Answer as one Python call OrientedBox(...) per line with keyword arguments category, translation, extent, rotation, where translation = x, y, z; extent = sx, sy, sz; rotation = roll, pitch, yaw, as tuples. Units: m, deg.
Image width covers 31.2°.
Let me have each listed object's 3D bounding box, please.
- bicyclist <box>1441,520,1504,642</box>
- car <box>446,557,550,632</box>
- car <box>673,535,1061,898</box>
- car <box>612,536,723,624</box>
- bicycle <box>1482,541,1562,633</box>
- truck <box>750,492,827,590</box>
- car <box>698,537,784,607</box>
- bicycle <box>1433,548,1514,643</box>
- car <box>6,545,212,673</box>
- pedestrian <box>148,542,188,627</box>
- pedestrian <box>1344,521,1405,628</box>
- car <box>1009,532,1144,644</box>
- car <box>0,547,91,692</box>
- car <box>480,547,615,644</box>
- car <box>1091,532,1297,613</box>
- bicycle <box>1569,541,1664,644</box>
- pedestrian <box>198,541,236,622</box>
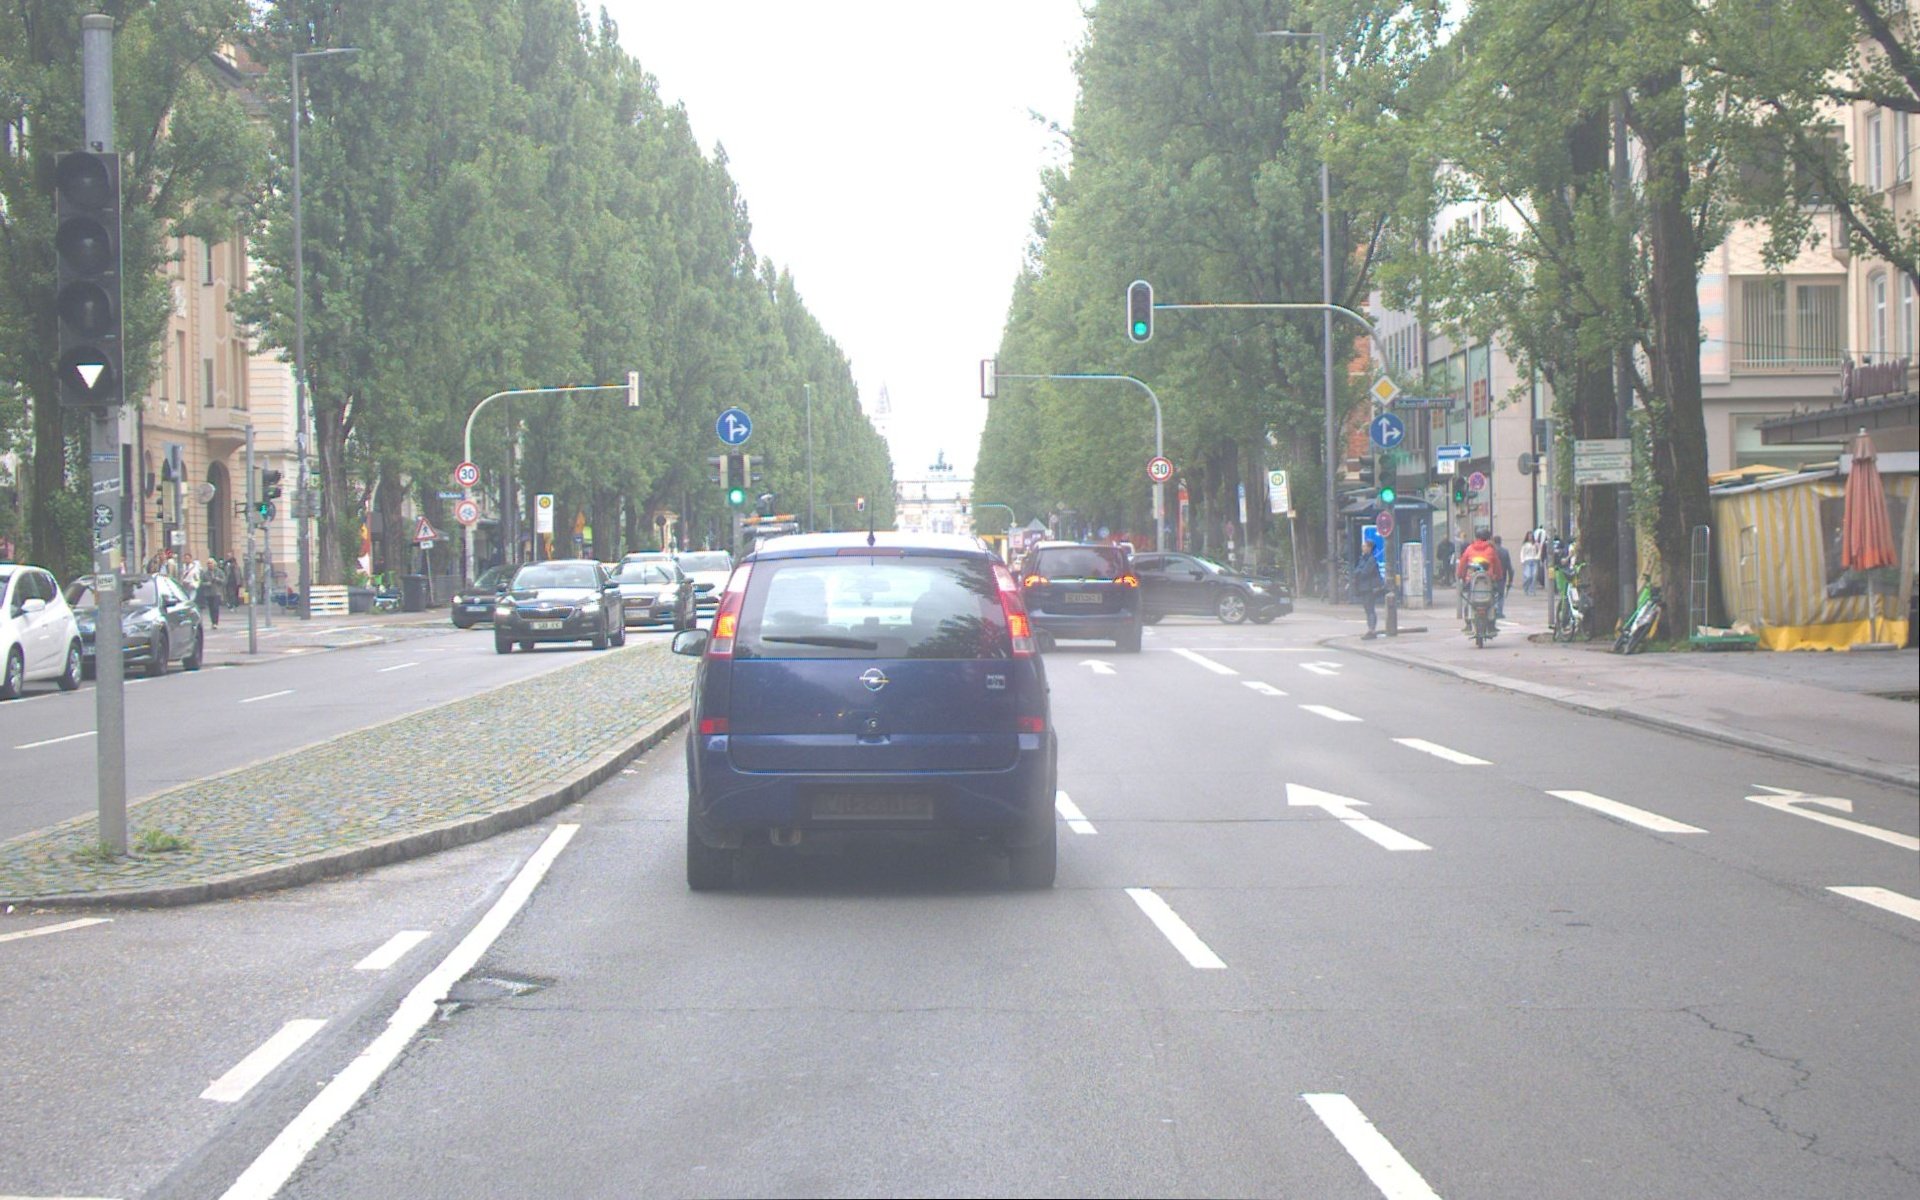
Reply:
OrientedBox(category="bicyclist", translation=(7.494, -0.280, 50.316), extent=(0.767, 1.760, 0.885), rotation=(-1, 1, -1))
OrientedBox(category="car", translation=(-10.659, -0.147, 79.556), extent=(1.866, 1.660, 4.120), rotation=(-1, 1, 0))
OrientedBox(category="car", translation=(-0.405, 0.468, 16.822), extent=(1.671, 1.563, 4.000), rotation=(0, 1, 0))
OrientedBox(category="car", translation=(-5.796, -0.423, 68.473), extent=(1.866, 1.660, 4.120), rotation=(-1, 1, 0))
OrientedBox(category="bicycle", translation=(8.523, -0.216, 52.203), extent=(0.772, 1.344, 2.449), rotation=(-1, 1, -1))
OrientedBox(category="truck", translation=(-6.043, -2.091, 122.114), extent=(2.383, 3.335, 7.111), rotation=(-1, 1, 0))
OrientedBox(category="car", translation=(-5.422, -0.719, 85.510), extent=(1.866, 1.660, 4.120), rotation=(-1, 1, 0))
OrientedBox(category="bicycle", translation=(7.497, -0.084, 50.321), extent=(0.772, 1.344, 2.449), rotation=(-1, 1, -1))
OrientedBox(category="car", translation=(-12.040, 0.094, 48.887), extent=(1.866, 1.660, 4.120), rotation=(-2, 1, 0))
OrientedBox(category="pedestrian", translation=(-16.680, -0.336, 72.456), extent=(0.767, 1.760, 0.885), rotation=(-1, 1, -11))
OrientedBox(category="pedestrian", translation=(6.906, -0.431, 57.284), extent=(0.882, 1.760, 0.770), rotation=(-1, 1, -3))
OrientedBox(category="car", translation=(1.713, -0.205, 51.720), extent=(1.896, 1.616, 4.000), rotation=(0, 1, 0))
OrientedBox(category="car", translation=(-11.996, 0.228, 41.612), extent=(1.866, 1.660, 4.120), rotation=(-2, 1, 0))
OrientedBox(category="car", translation=(-6.548, -0.092, 54.852), extent=(1.735, 1.460, 3.365), rotation=(-1, 1, 0))
OrientedBox(category="car", translation=(4.806, -0.569, 70.403), extent=(3.989, 1.616, 1.902), rotation=(0, 1, 11))
OrientedBox(category="bicycle", translation=(8.884, -0.116, 46.585), extent=(0.772, 1.344, 2.449), rotation=(-1, 1, -1))
OrientedBox(category="pedestrian", translation=(-16.389, -0.413, 75.844), extent=(0.767, 1.760, 0.885), rotation=(-1, 1, -11))
